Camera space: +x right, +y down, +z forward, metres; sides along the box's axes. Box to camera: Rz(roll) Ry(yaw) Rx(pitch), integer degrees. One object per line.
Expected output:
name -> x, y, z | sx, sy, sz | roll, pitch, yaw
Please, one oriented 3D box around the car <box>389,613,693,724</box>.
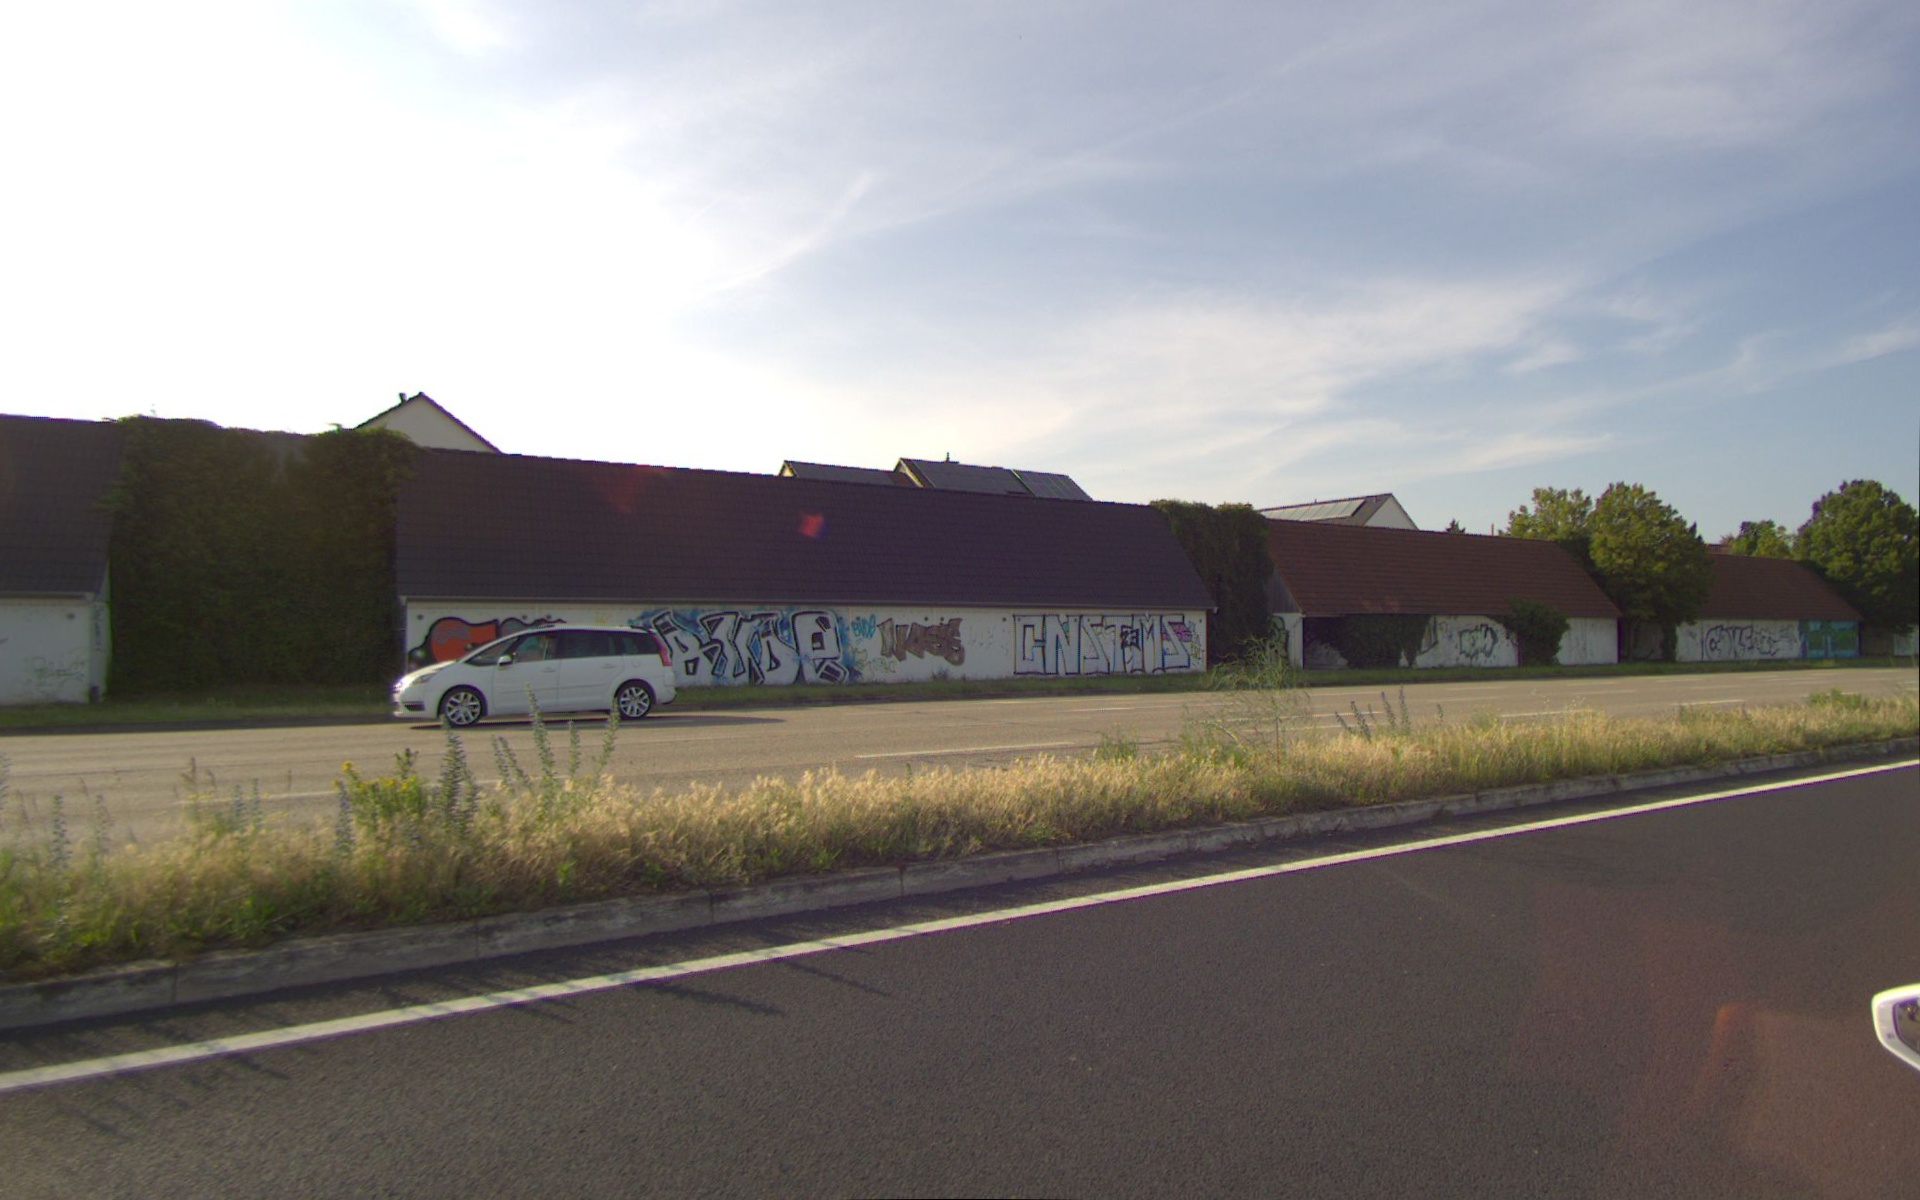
car -> -7.279, 1.190, 17.627 | 4.701, 1.729, 1.829 | 2, -4, -30
